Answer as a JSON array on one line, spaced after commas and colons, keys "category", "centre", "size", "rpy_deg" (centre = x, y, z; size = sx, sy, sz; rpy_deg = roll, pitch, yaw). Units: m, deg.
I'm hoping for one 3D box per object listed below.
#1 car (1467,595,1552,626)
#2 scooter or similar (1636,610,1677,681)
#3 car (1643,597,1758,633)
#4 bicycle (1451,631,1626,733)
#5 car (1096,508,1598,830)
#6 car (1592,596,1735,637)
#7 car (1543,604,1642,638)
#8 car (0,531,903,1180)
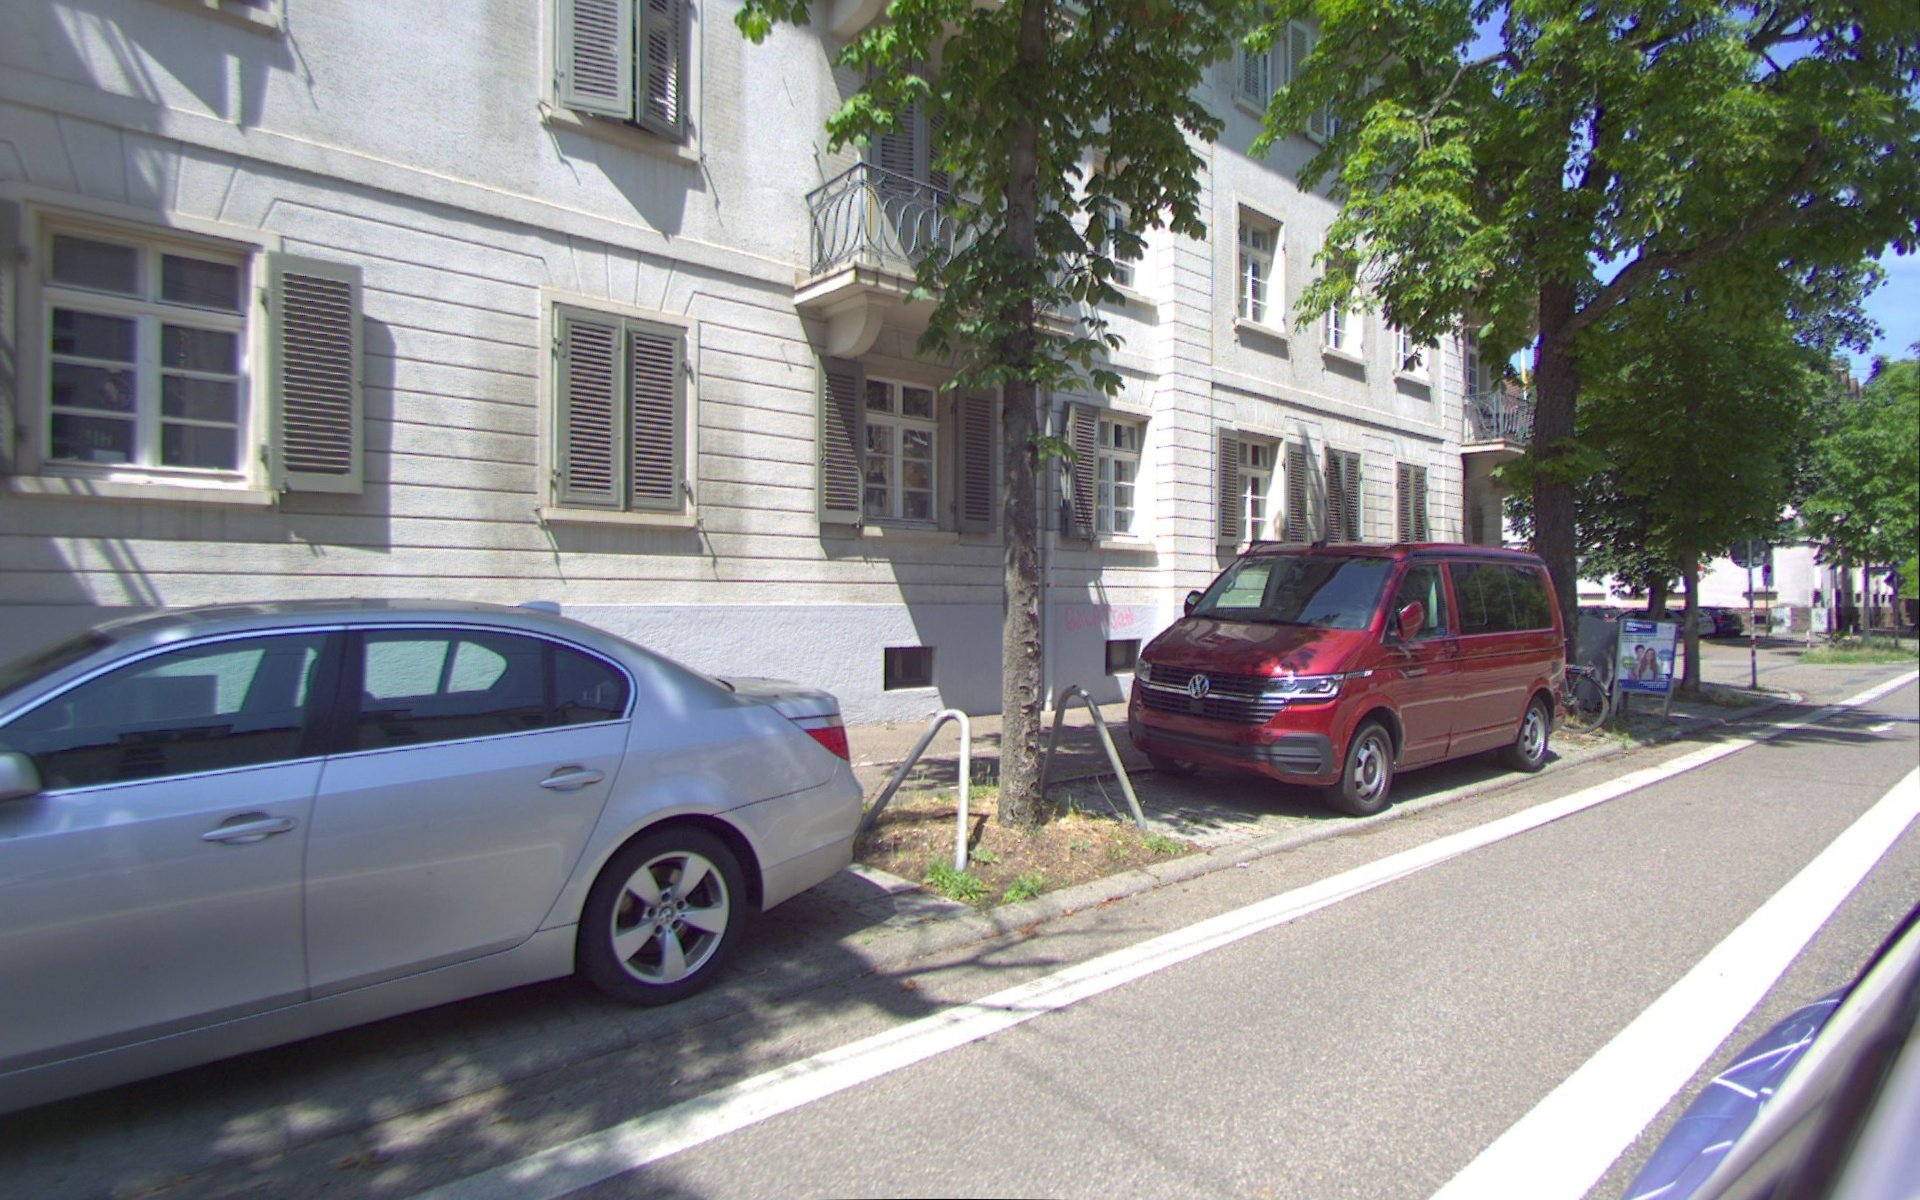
[{"category": "car", "centre": [30.262, 0.568, 55.872], "size": [1.830, 1.600, 4.007], "rpy_deg": [-1, 0, -14]}, {"category": "scooter or similar", "centre": [12.066, 0.776, 17.528], "size": [1.231, 1.176, 0.296], "rpy_deg": [0, -1, -42]}, {"category": "car", "centre": [32.793, 0.639, 44.939], "size": [1.611, 1.465, 3.891], "rpy_deg": [-2, 0, -18]}, {"category": "bicycle", "centre": [6.526, 0.895, 11.484], "size": [1.696, 1.034, 0.359], "rpy_deg": [0, 0, 44]}, {"category": "car", "centre": [3.529, 0.463, 8.699], "size": [4.886, 2.039, 1.863], "rpy_deg": [1, -1, -40]}, {"category": "car", "centre": [28.291, 0.695, 40.930], "size": [1.837, 1.535, 4.683], "rpy_deg": [-1, -2, -13]}, {"category": "car", "centre": [31.460, 1.001, 50.488], "size": [1.783, 1.521, 4.007], "rpy_deg": [-4, 0, -14]}, {"category": "car", "centre": [-2.666, 0.640, 3.474], "size": [4.791, 1.597, 1.863], "rpy_deg": [0, -1, -40]}]
